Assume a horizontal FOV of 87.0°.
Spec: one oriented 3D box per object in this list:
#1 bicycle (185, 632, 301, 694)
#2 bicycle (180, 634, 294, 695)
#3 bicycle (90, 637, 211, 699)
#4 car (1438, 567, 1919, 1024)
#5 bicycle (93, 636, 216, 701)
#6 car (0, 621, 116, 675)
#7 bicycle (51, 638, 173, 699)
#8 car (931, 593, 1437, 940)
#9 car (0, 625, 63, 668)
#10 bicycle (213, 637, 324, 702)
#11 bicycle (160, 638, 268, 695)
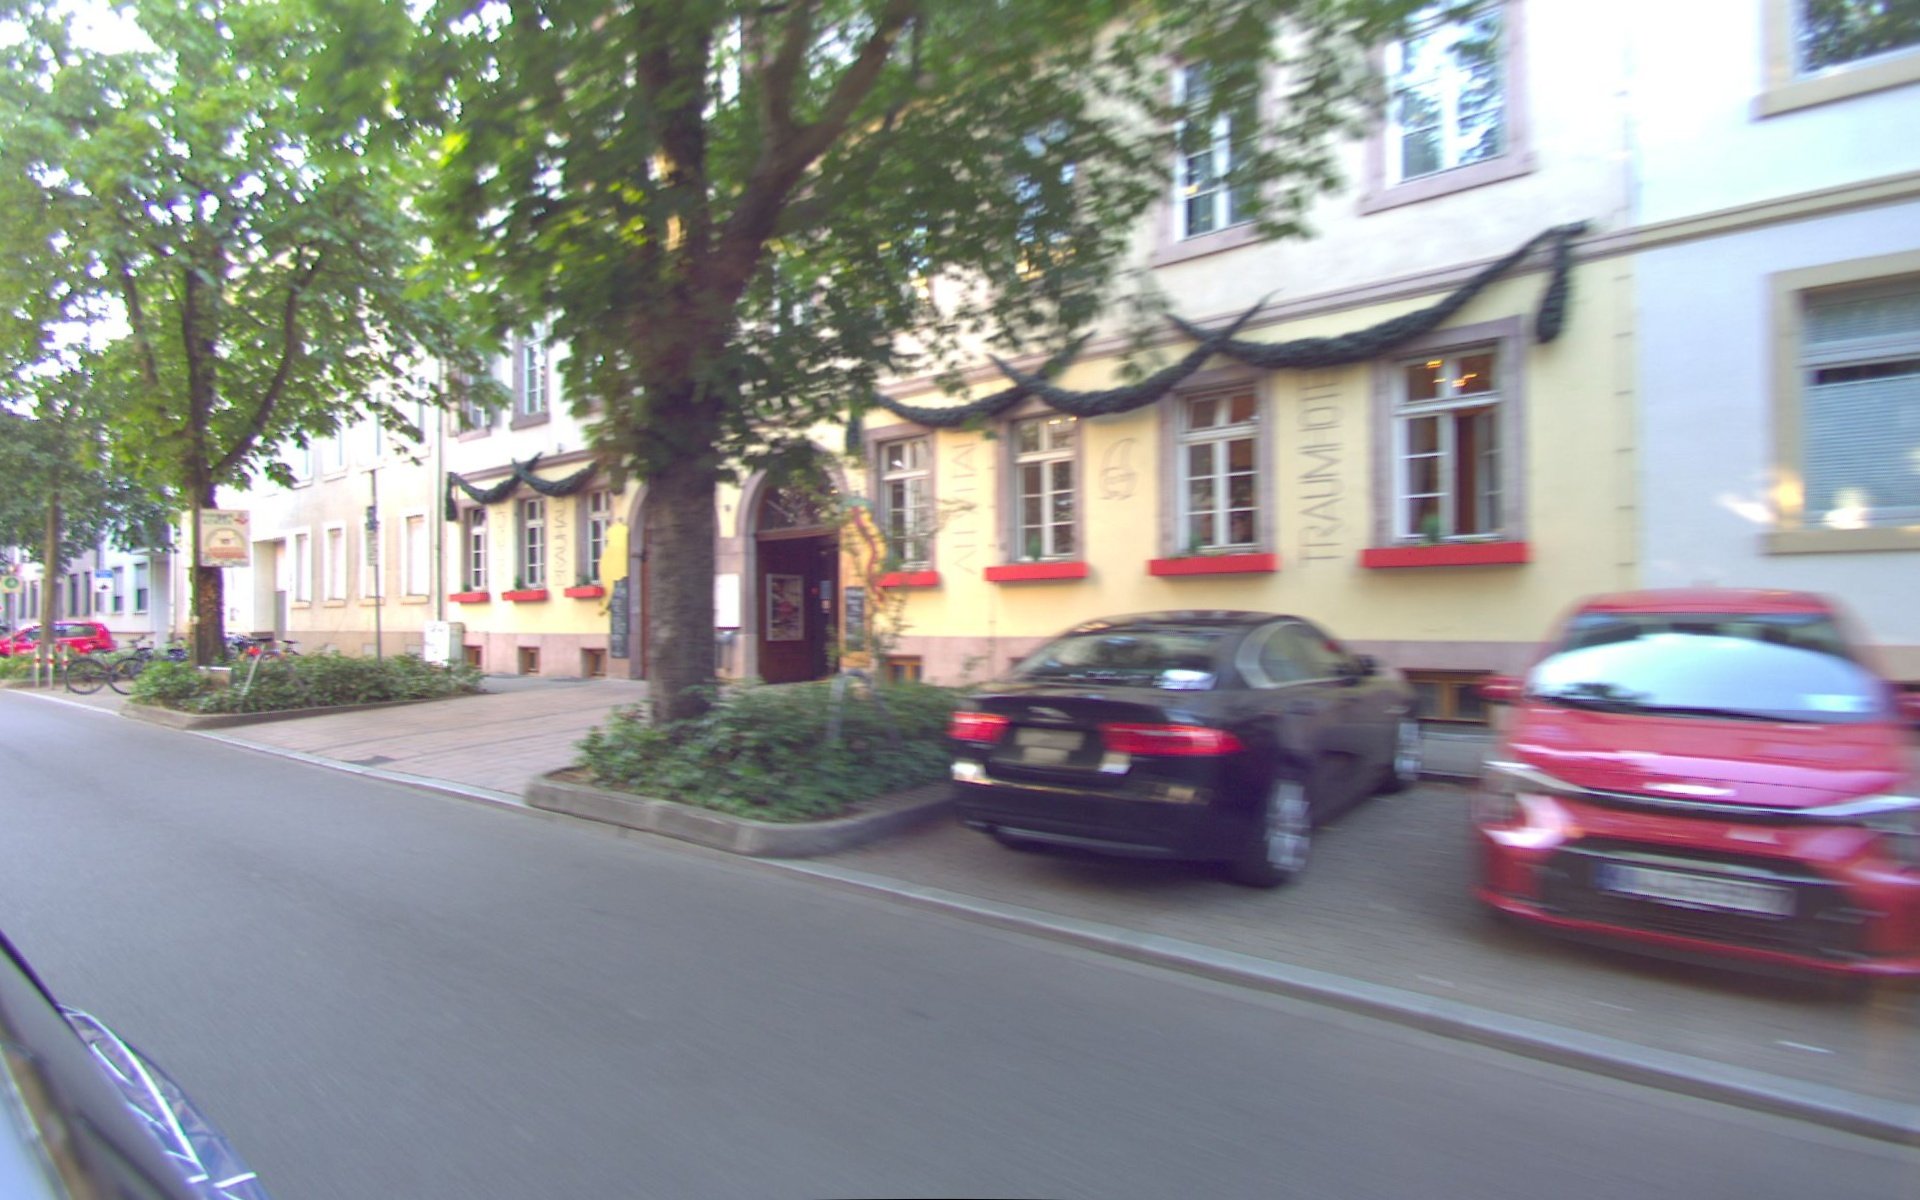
[{"bbox_3d":[-14.371,1.242,20.346,0.479,1.107,1.849,-1,0,32],"label":"bicycle"},{"bbox_3d":[-14.858,1.295,20.852,0.508,1.107,1.849,-1,0,32],"label":"bicycle"},{"bbox_3d":[-16.423,1.349,20.582,0.479,1.107,1.849,-1,0,32],"label":"bicycle"},{"bbox_3d":[3.777,0.609,5.107,1.657,1.460,3.649,-2,1,38],"label":"car"},{"bbox_3d":[-16.048,1.332,20.211,0.479,1.153,1.849,-1,0,32],"label":"bicycle"},{"bbox_3d":[-28.201,1.466,30.847,1.670,1.416,3.457,-2,1,36],"label":"car"},{"bbox_3d":[-17.237,1.370,20.617,0.479,1.106,1.849,-1,0,32],"label":"bicycle"},{"bbox_3d":[1.800,0.709,6.655,1.714,1.417,4.386,0,1,35],"label":"car"},{"bbox_3d":[-34.915,1.719,36.517,1.587,1.430,3.512,-2,1,36],"label":"car"},{"bbox_3d":[-13.246,1.309,19.432,0.479,1.107,1.693,-1,0,32],"label":"bicycle"},{"bbox_3d":[-16.332,1.430,22.217,0.479,1.107,1.849,-1,0,32],"label":"bicycle"}]
